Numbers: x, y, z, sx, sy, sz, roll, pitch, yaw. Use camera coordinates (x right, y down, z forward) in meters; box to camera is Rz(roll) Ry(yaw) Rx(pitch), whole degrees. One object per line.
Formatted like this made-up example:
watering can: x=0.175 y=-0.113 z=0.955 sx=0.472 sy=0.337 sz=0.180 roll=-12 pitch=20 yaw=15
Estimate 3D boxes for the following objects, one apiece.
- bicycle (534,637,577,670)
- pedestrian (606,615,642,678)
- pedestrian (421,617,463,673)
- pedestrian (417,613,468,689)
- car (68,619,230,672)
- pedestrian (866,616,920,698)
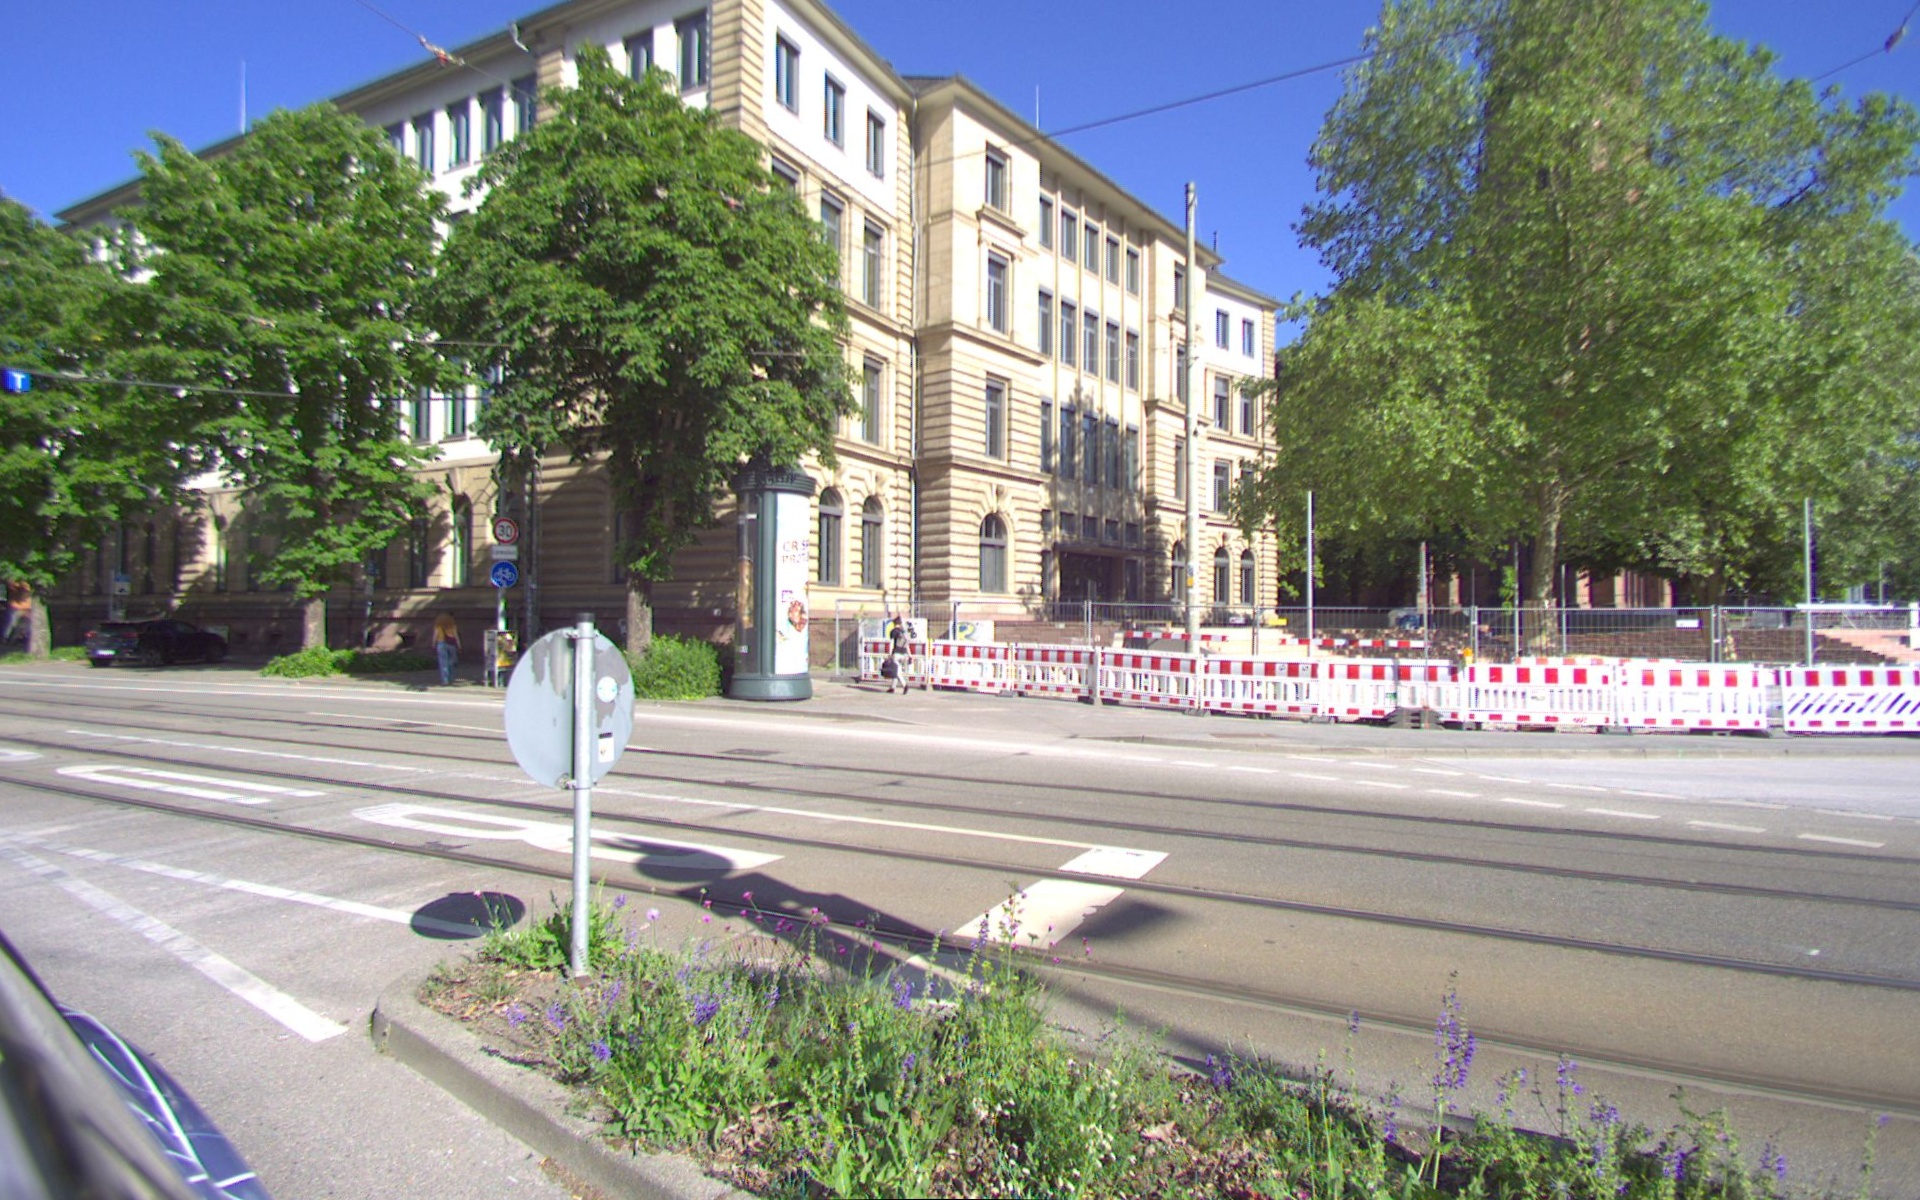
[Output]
bicycle: x=-11.610 y=1.525 z=29.023 sx=1.356 sy=0.910 sz=0.394 roll=0 pitch=0 yaw=31
pedestrian: x=-8.565 y=1.185 z=25.830 sx=0.651 sy=1.574 sz=0.573 roll=-1 pitch=-2 yaw=29
pedestrian: x=-15.272 y=1.309 z=29.834 sx=0.671 sy=1.578 sz=0.849 roll=0 pitch=2 yaw=33
pedestrian: x=-12.008 y=1.200 z=23.508 sx=0.759 sy=1.682 sz=1.036 roll=-1 pitch=-5 yaw=-9
car: x=-26.150 y=1.446 z=32.838 sx=1.895 sy=1.586 sz=4.108 roll=0 pitch=-2 yaw=1
pedestrian: x=-1.428 y=1.195 z=21.606 sx=0.845 sy=1.682 sz=0.720 roll=2 pitch=-1 yaw=39
